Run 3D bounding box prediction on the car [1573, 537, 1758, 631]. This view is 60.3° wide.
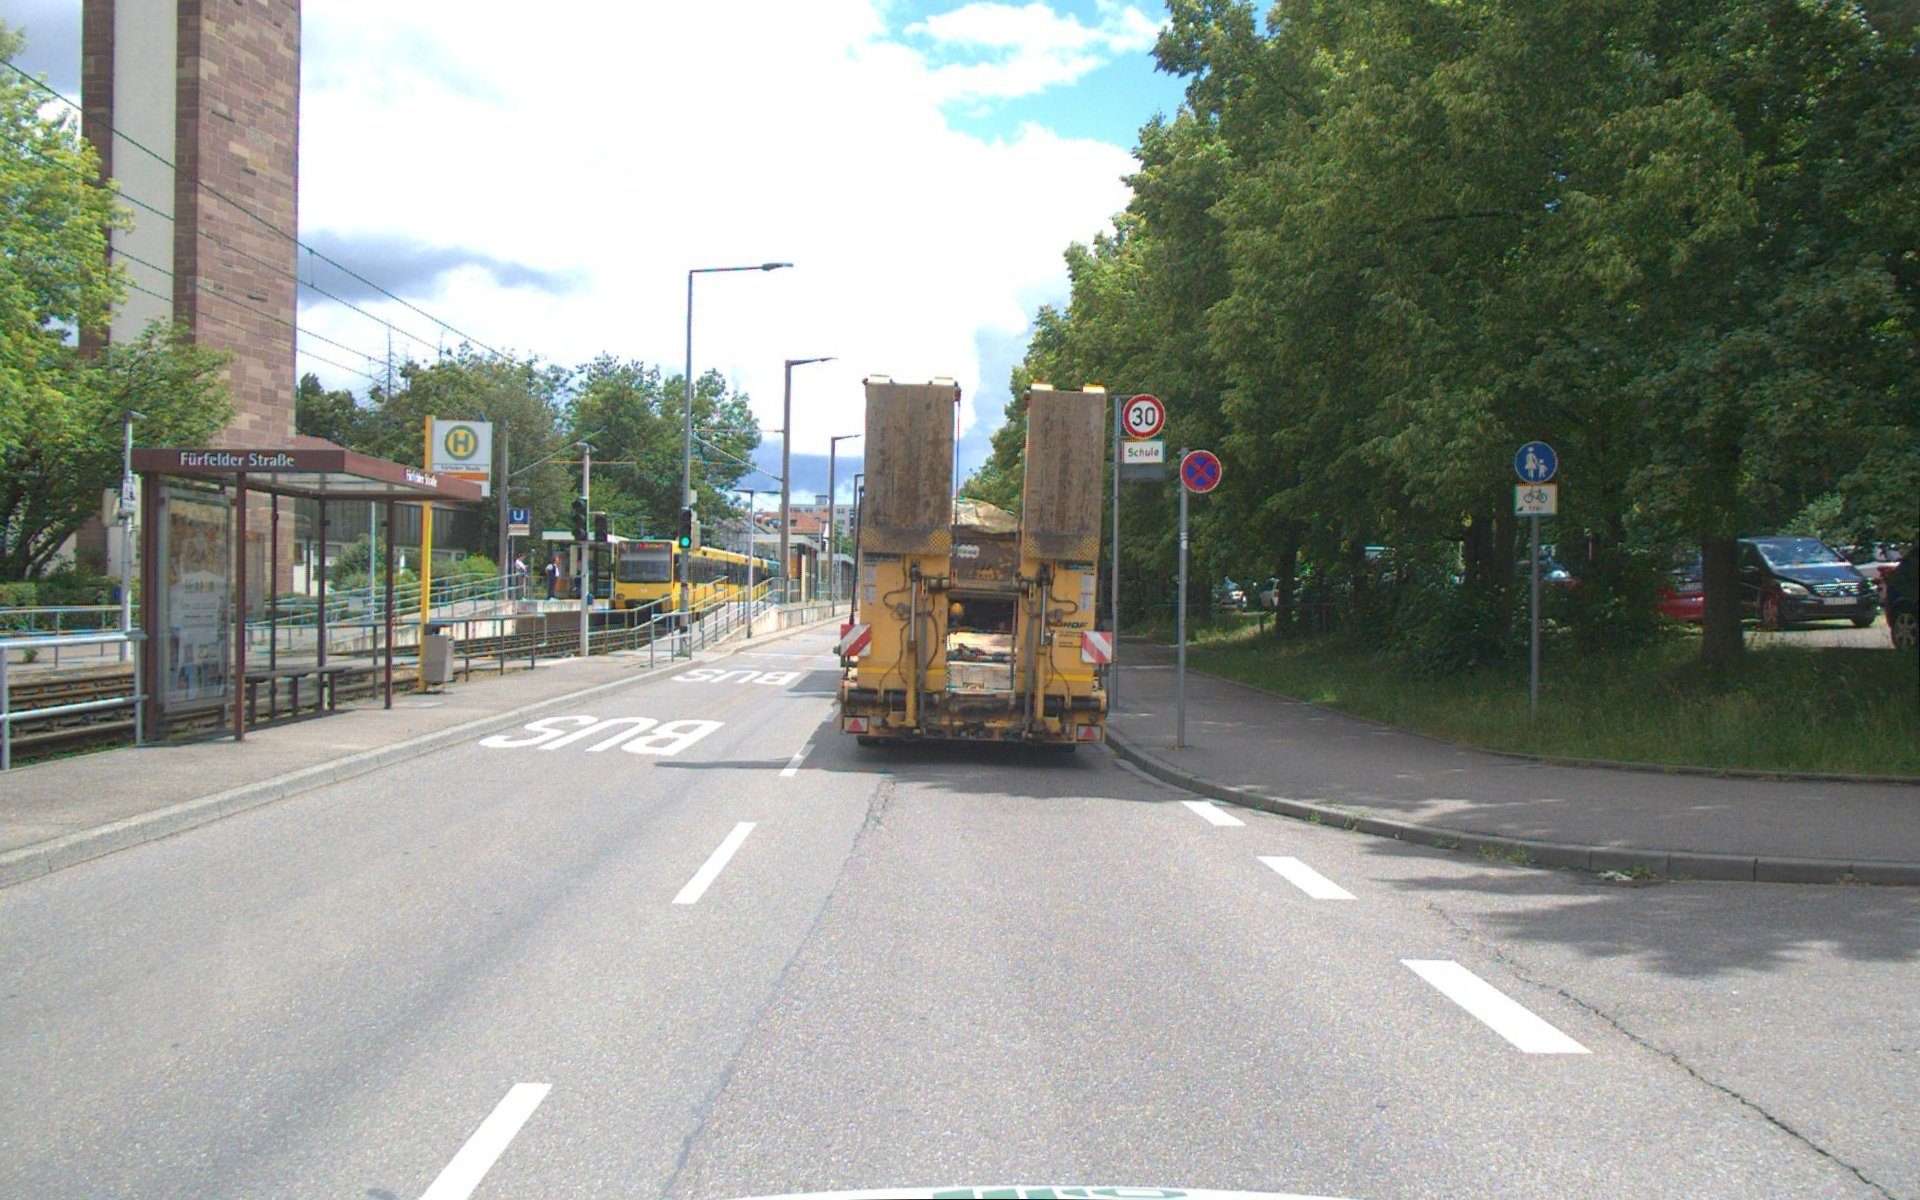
[{"bbox_3d":[12.482,-0.264,29.495,1.627,1.527,3.661,-2,0,-1],"label":"car"}]

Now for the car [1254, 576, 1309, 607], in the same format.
[{"bbox_3d":[15.742,-0.388,81.151,1.803,1.445,4.123,-1,0,-1],"label":"car"}]

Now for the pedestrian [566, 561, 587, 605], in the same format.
[{"bbox_3d":[-15.542,-0.686,67.010,0.626,1.737,0.645,2,0,-1],"label":"pedestrian"}]

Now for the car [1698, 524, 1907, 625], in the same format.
[{"bbox_3d":[14.684,-0.424,29.046,1.717,1.610,3.661,-2,0,-1],"label":"car"}]

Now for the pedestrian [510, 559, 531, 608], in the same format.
[{"bbox_3d":[-16.285,-0.606,61.265,0.572,1.809,0.576,2,0,-1],"label":"pedestrian"}]

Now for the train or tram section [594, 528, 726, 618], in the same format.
[{"bbox_3d":[-13.538,-1.109,76.732,3.045,3.525,18.820,3,0,-1],"label":"train or tram section"}]

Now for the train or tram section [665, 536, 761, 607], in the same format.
[{"bbox_3d":[-13.986,-1.500,95.611,3.045,3.525,18.990,3,0,-1],"label":"train or tram section"}]

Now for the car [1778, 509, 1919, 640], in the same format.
[{"bbox_3d":[12.151,-0.274,20.655,1.787,1.538,3.811,0,-2,-4],"label":"car"}]

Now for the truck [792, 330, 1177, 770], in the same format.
[{"bbox_3d":[-0.211,-0.445,21.389,3.335,3.797,13.728,1,0,-4],"label":"truck"}]

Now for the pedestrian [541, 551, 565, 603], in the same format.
[{"bbox_3d":[-16.268,-0.918,66.125,0.698,2.049,0.731,3,0,-4],"label":"pedestrian"}]

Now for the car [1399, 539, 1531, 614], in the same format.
[{"bbox_3d":[11.419,-0.505,37.640,1.594,1.541,4.137,-3,0,-1],"label":"car"}]
